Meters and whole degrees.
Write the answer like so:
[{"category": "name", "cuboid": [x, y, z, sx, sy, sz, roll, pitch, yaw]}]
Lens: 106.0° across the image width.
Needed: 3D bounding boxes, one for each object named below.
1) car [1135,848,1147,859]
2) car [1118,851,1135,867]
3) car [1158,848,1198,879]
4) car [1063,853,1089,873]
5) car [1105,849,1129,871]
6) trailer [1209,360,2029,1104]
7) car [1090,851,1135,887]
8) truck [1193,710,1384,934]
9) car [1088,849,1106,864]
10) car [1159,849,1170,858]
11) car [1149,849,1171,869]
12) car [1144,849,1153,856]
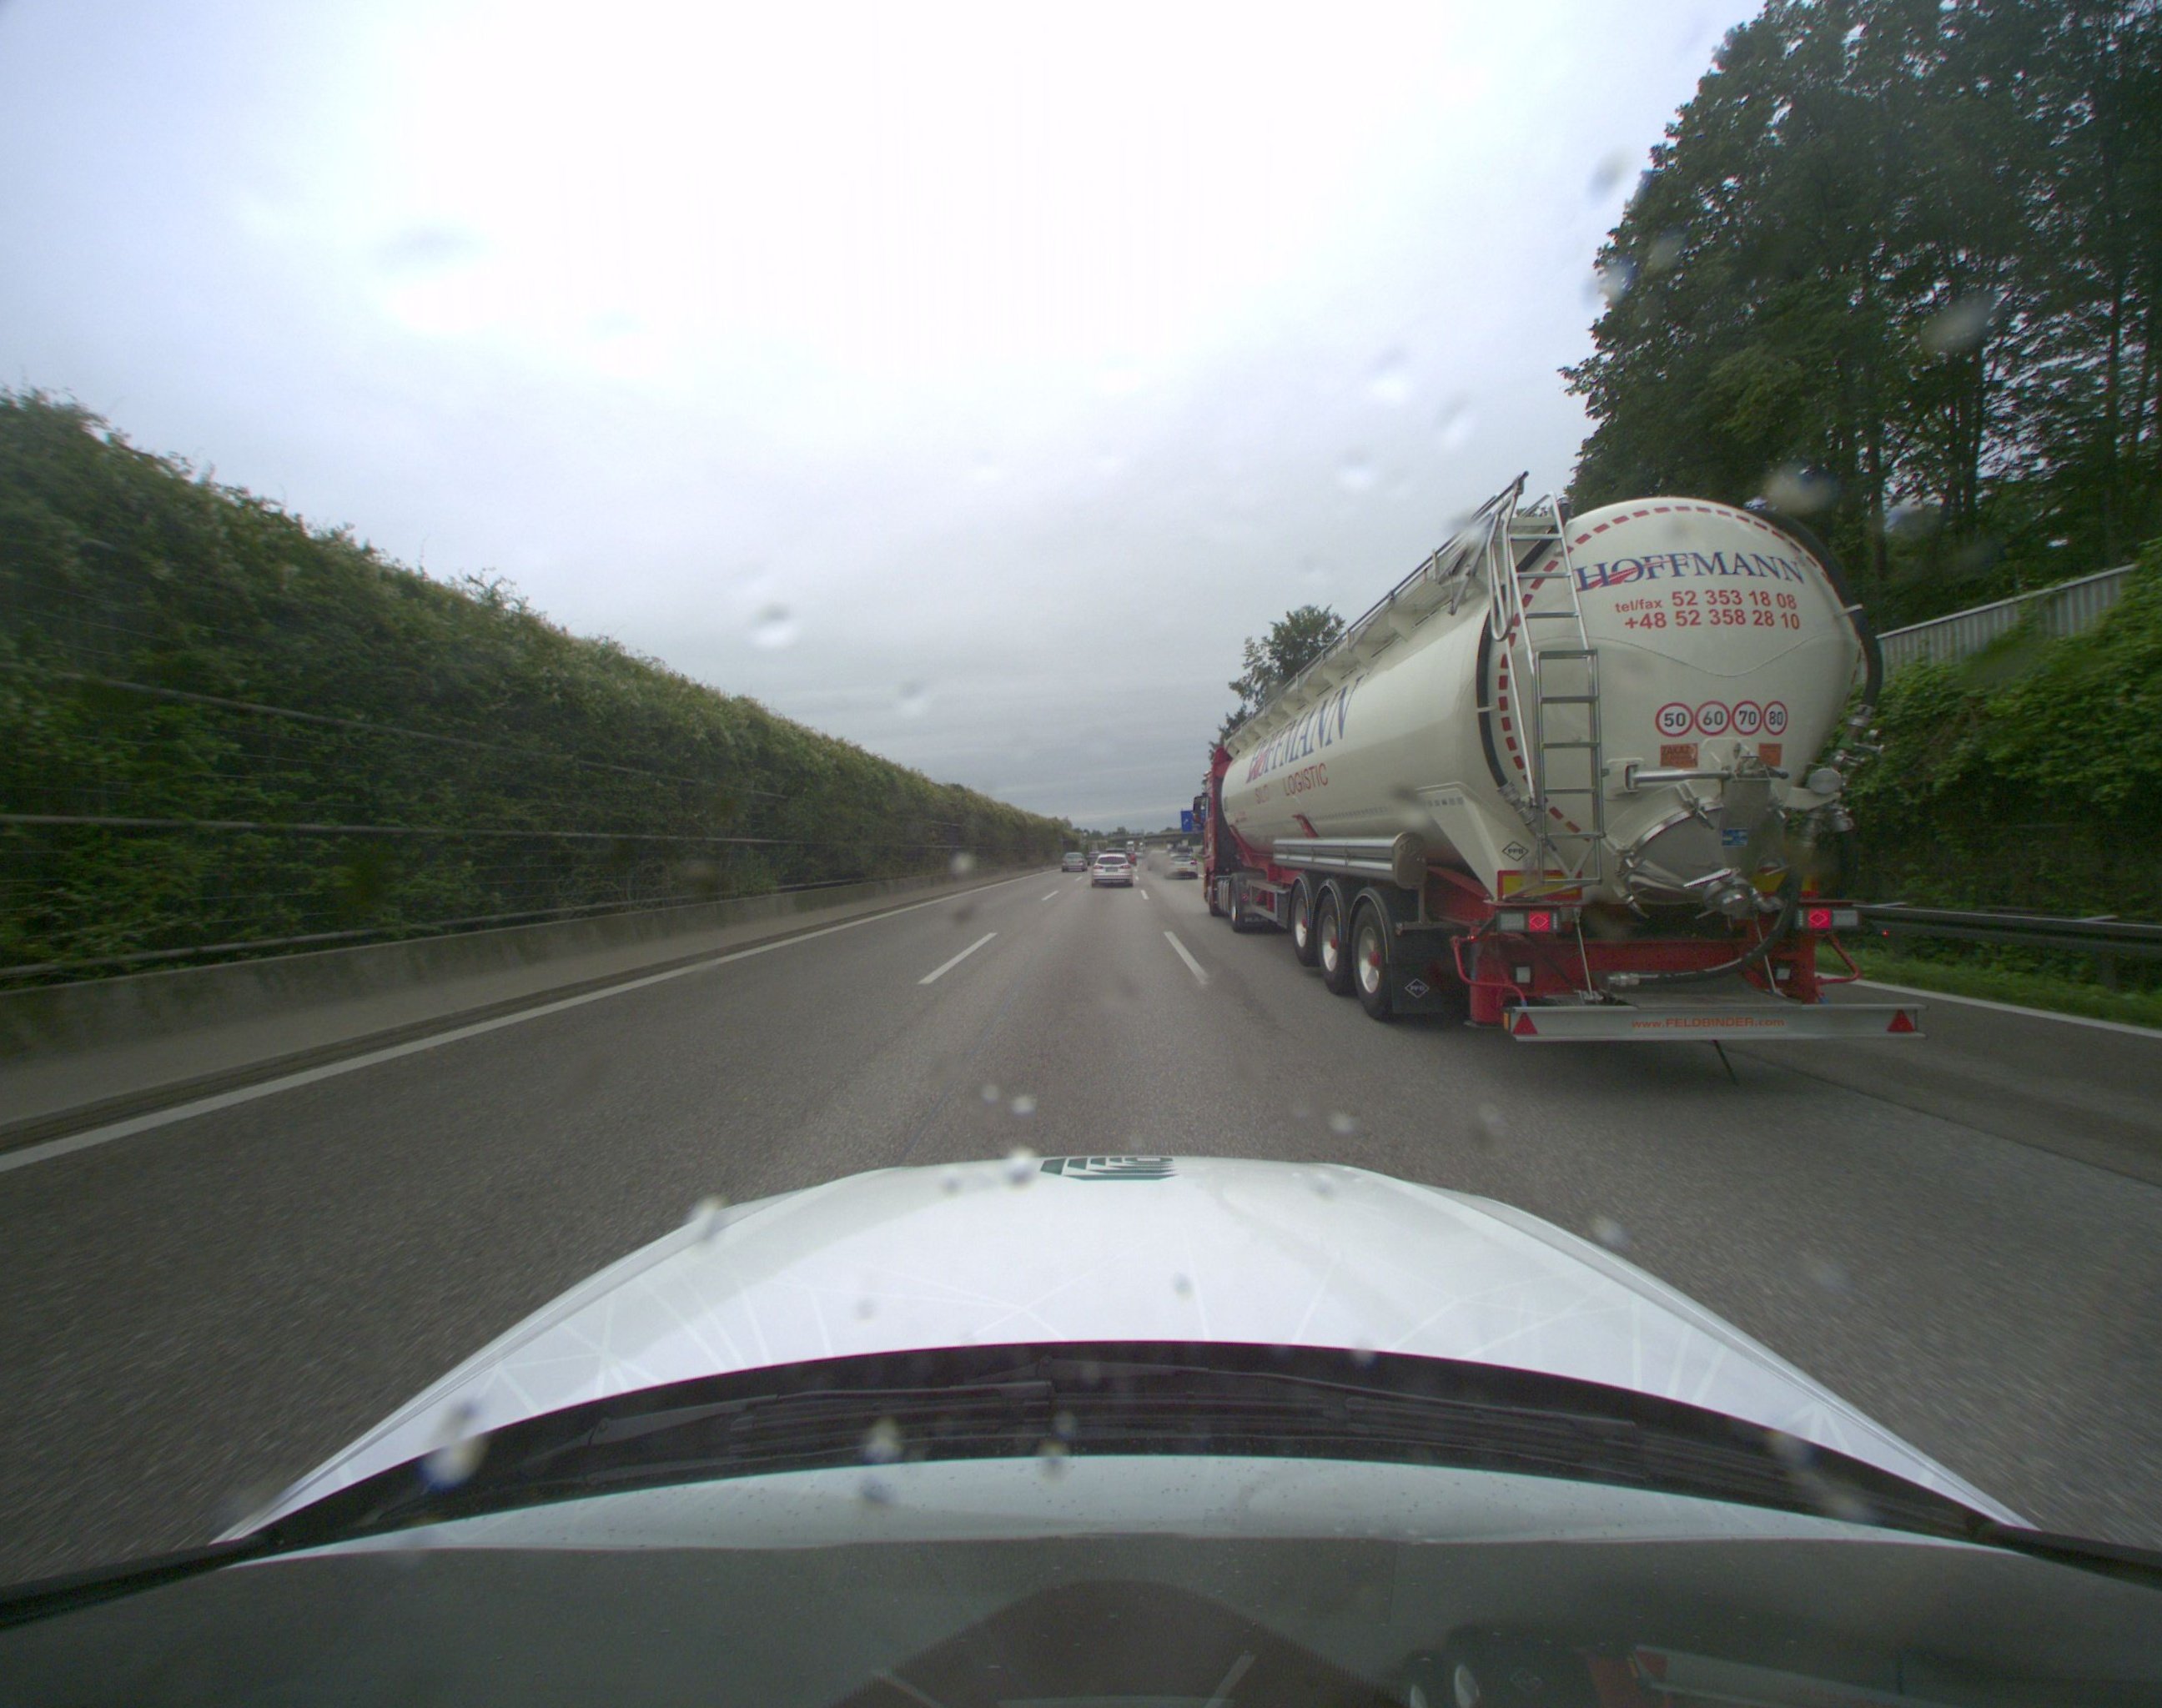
[{"category": "car", "cuboid": [10.256, -0.143, 138.602, 1.781, 1.779, 3.877, -2, 0, 5]}, {"category": "car", "cuboid": [4.743, 0.526, 84.453, 1.681, 1.506, 3.876, 2, 1, 4]}, {"category": "car", "cuboid": [5.377, 0.507, 45.522, 1.809, 1.625, 5.033, -2, 0, 2]}, {"category": "car", "cuboid": [-0.366, 0.696, 64.722, 1.712, 1.469, 5.035, -2, -1, 4]}, {"category": "car", "cuboid": [2.641, 0.418, 60.597, 1.682, 1.506, 3.874, 2, 1, 2]}, {"category": "trailer", "cuboid": [3.901, -0.615, 10.949, 2.658, 3.939, 13.135, -2, 0, 2]}, {"category": "car", "cuboid": [1.381, 0.635, 36.941, 1.885, 1.504, 5.031, 0, 0, 1]}, {"category": "truck", "cuboid": [4.142, -0.545, 17.793, 2.684, 3.912, 6.560, -2, -1, 2]}, {"category": "car", "cuboid": [1.772, 0.231, 88.236, 1.713, 1.512, 5.033, -2, 0, 3]}, {"category": "car", "cuboid": [15.492, -0.127, 150.356, 1.678, 1.539, 3.883, -2, 0, 11]}, {"category": "car", "cuboid": [6.279, 0.425, 65.127, 1.681, 1.506, 3.876, -2, 0, 5]}, {"category": "car", "cuboid": [14.172, -0.301, 170.419, 1.682, 1.539, 3.874, -2, 0, 3]}]
